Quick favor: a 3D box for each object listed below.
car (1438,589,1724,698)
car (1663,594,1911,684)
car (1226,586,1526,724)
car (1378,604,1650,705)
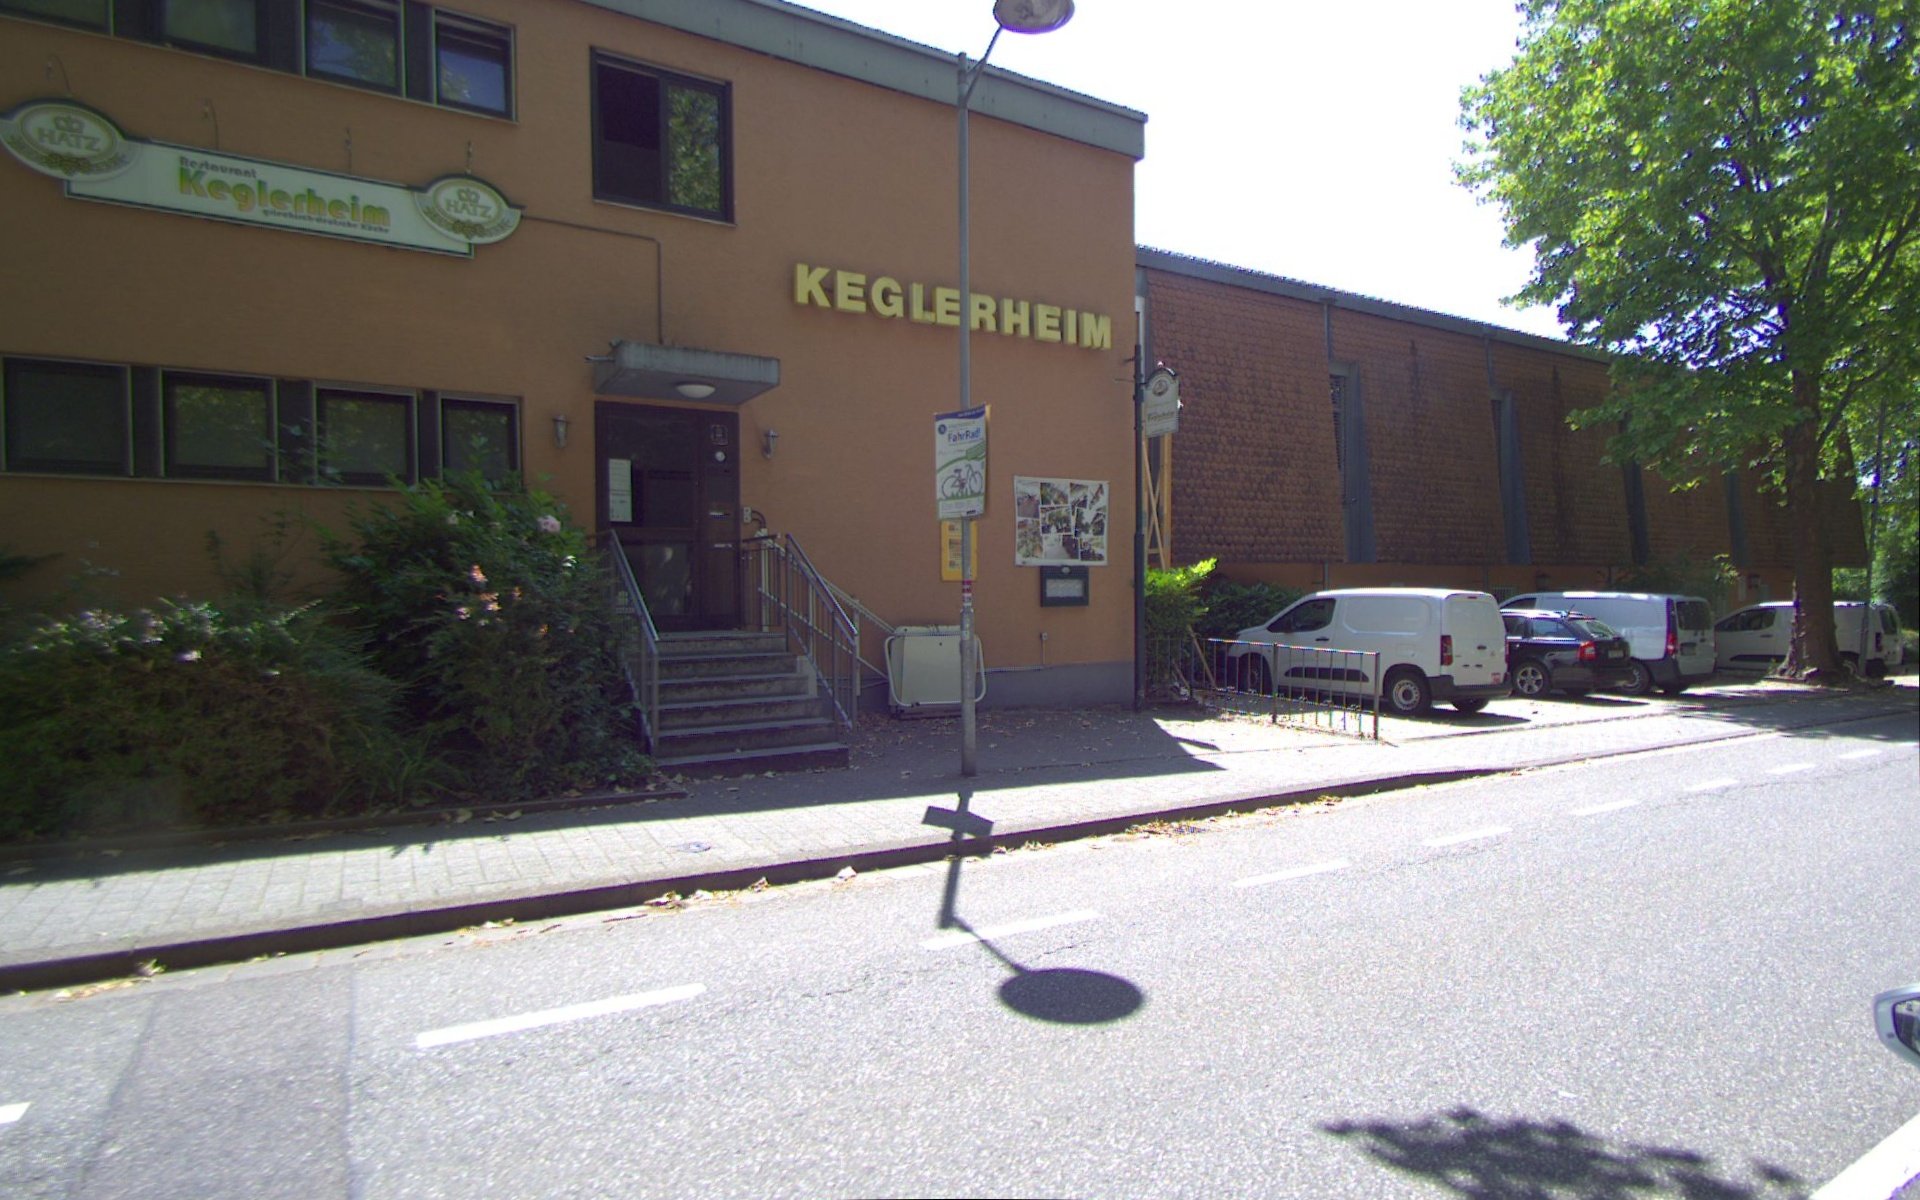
[{"bbox_3d":[12.061,0.751,19.811,1.883,1.828,4.397,1,1,-33],"label":"car"},{"bbox_3d":[19.220,0.835,23.528,1.883,1.828,4.104,1,1,-33],"label":"car"},{"bbox_3d":[6.326,0.730,15.703,1.848,1.817,3.963,1,1,-33],"label":"car"},{"bbox_3d":[9.997,0.901,18.407,1.848,1.535,3.963,1,1,-33],"label":"car"}]
